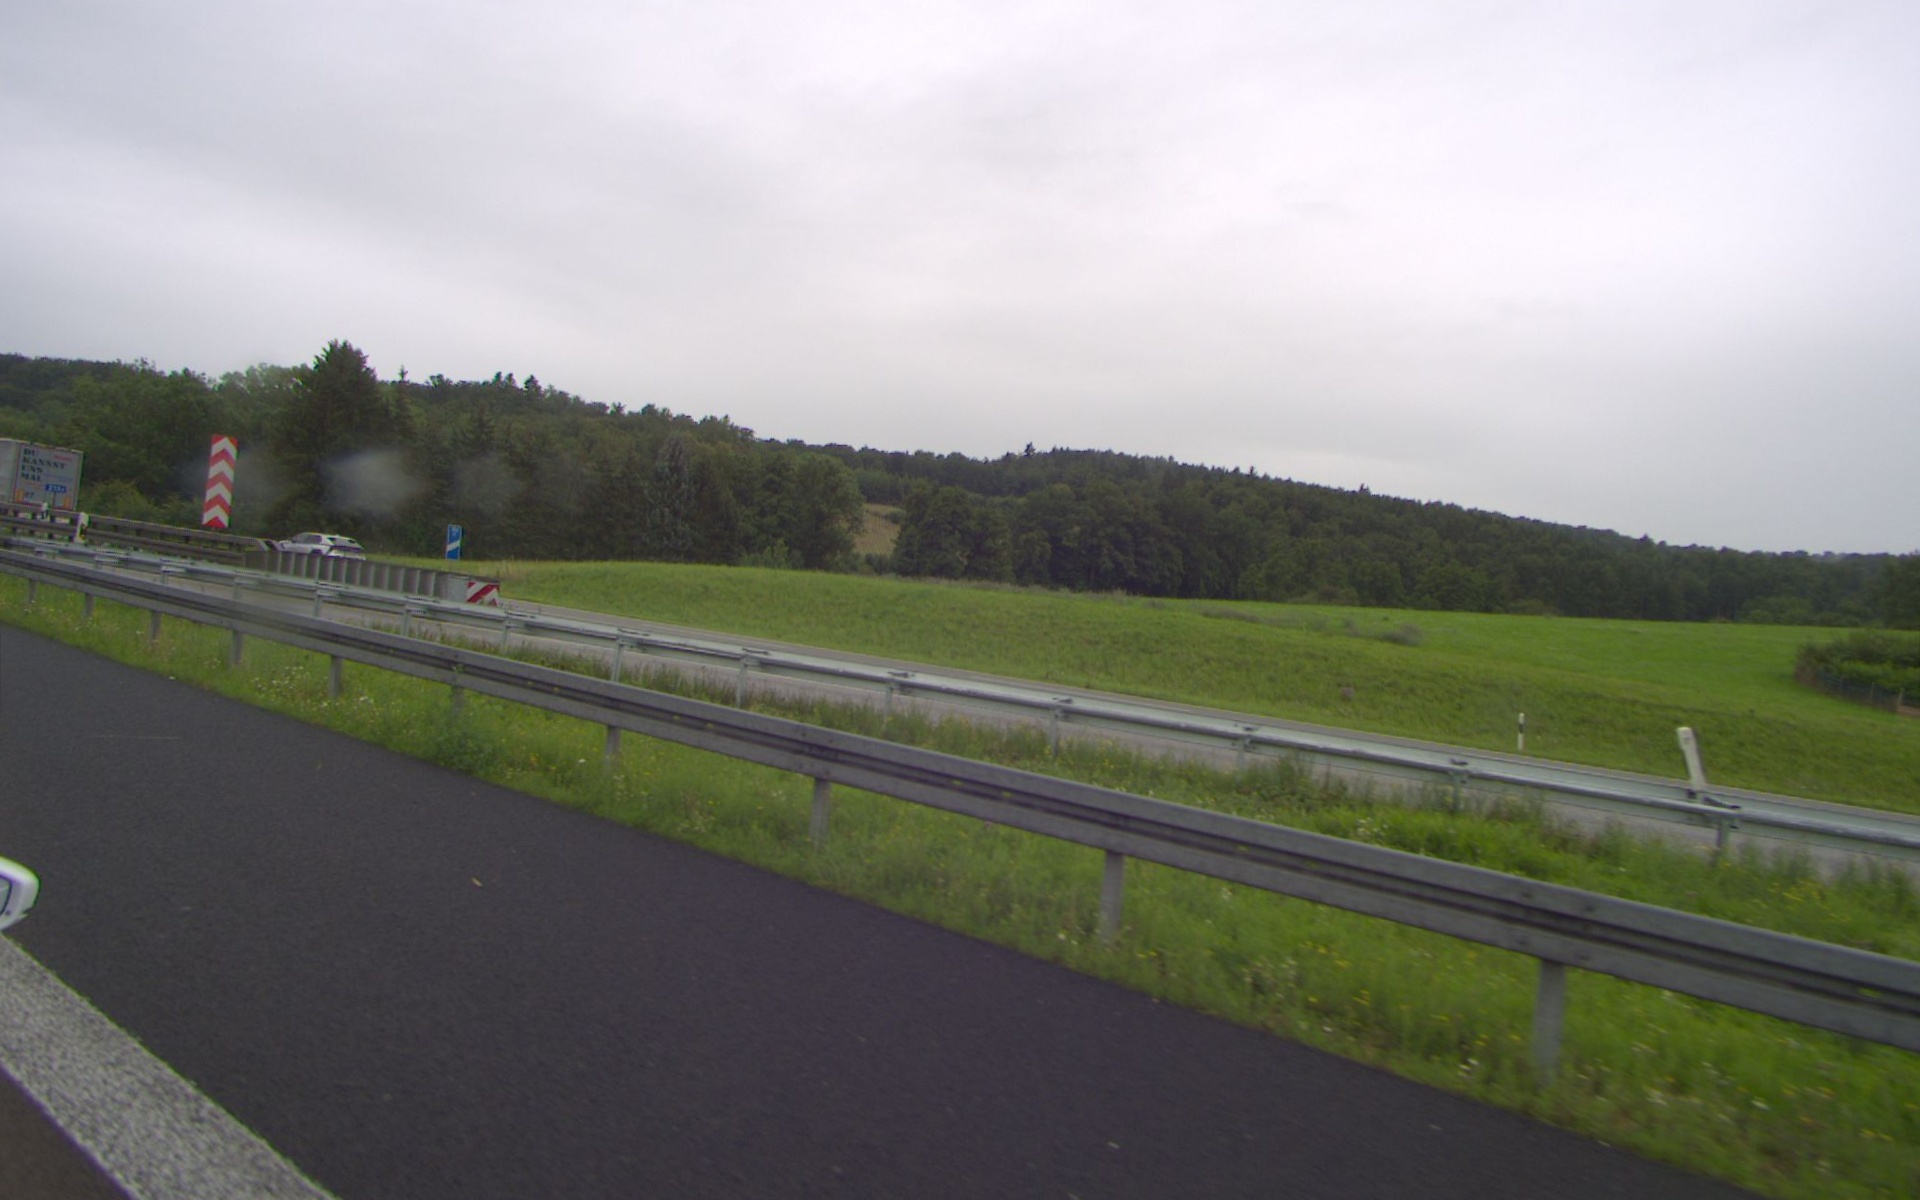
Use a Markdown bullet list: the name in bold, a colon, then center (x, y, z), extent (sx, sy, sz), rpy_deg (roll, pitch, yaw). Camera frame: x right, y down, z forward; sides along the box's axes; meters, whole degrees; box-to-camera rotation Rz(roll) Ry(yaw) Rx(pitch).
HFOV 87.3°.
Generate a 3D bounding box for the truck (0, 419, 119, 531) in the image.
- **truck**: center (-49.913, -6.664, 51.798), extent (16.591, 4.595, 3.829), rpy_deg (6, -1, 28)

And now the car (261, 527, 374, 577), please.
- **car**: center (-27.708, -2.079, 43.350), extent (4.944, 1.522, 1.823), rpy_deg (7, -1, 28)
